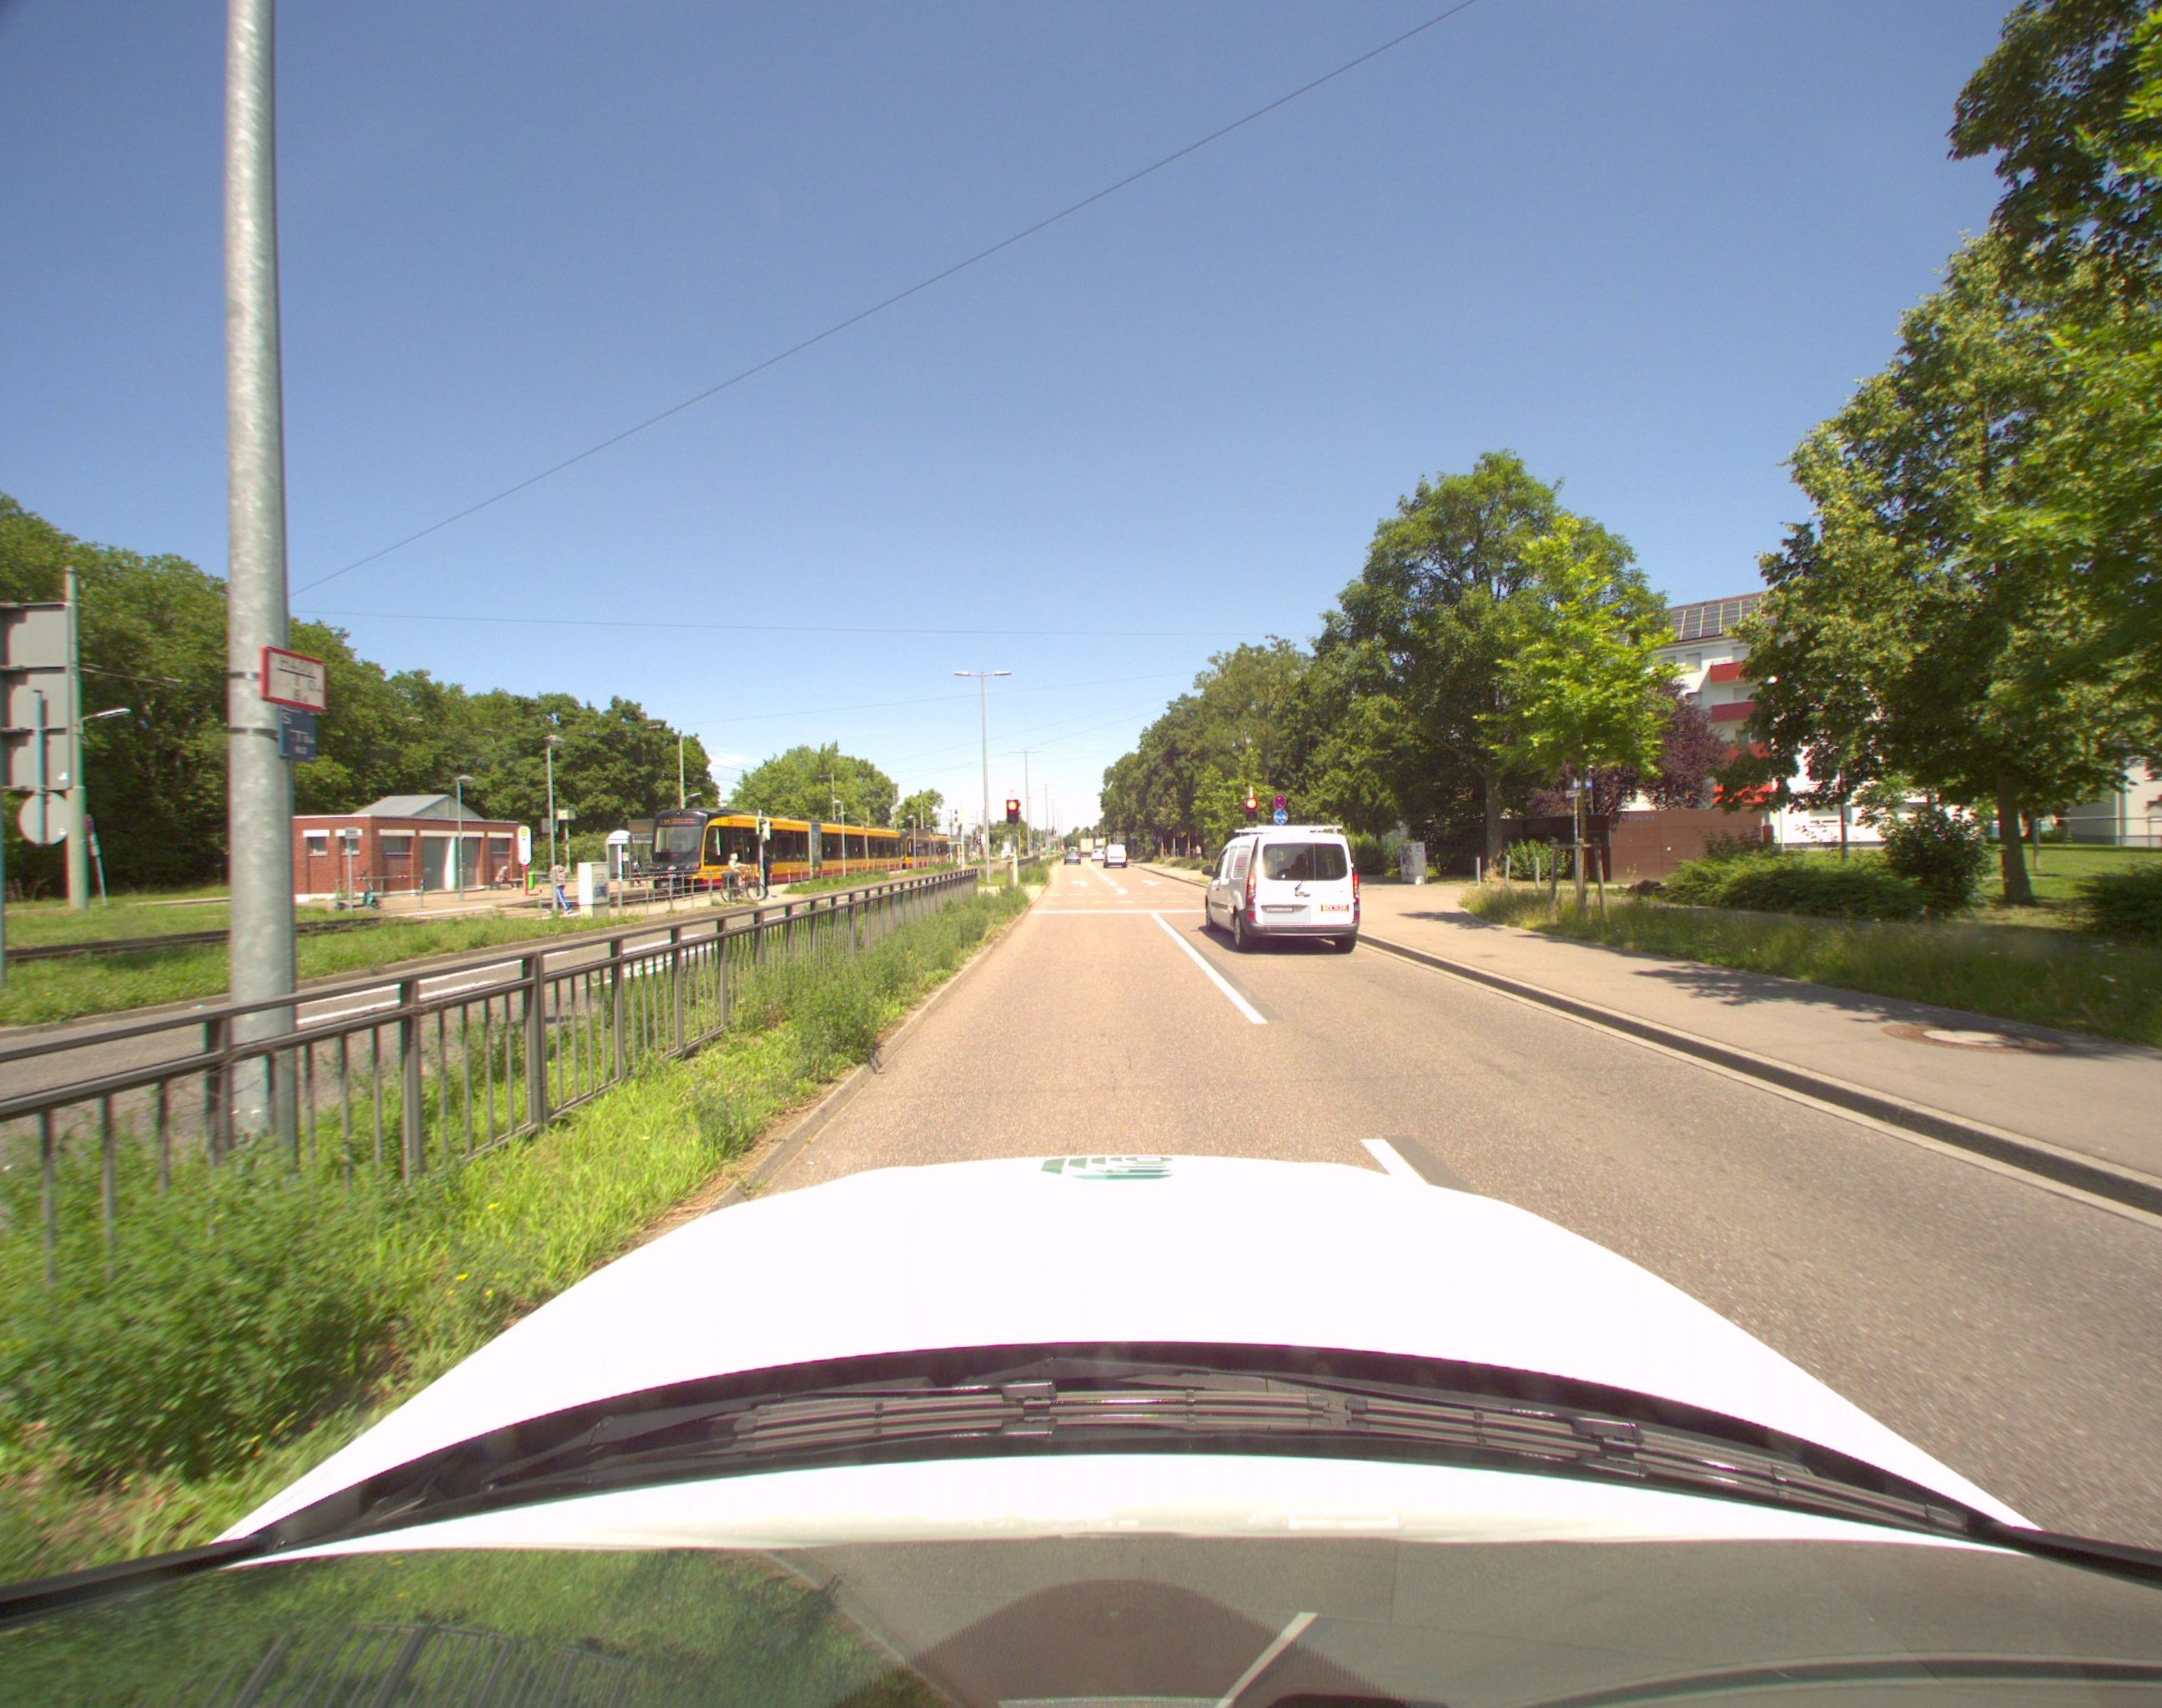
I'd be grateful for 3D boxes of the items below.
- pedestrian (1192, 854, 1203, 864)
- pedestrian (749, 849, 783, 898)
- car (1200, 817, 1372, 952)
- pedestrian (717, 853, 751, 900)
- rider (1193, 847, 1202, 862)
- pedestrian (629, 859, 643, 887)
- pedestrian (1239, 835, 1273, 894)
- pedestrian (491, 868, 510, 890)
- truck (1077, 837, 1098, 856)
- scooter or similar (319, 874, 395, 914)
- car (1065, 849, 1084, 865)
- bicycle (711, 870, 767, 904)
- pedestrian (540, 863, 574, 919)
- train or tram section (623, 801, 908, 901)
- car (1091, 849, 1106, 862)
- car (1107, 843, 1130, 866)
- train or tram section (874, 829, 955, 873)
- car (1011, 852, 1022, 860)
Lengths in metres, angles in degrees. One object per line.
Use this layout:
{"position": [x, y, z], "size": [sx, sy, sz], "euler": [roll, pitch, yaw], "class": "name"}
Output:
{"position": [10.195, 0.429, 71.353], "size": [0.676, 0.847, 1.773], "euler": [-1, 0, -1], "class": "pedestrian"}
{"position": [-11.824, 0.717, 30.530], "size": [0.949, 1.797, 0.709], "euler": [-1, 0, 28], "class": "pedestrian"}
{"position": [3.211, 0.417, 13.696], "size": [1.818, 1.881, 4.456], "euler": [0, 0, 0], "class": "car"}
{"position": [-12.170, 0.783, 28.577], "size": [0.815, 1.628, 0.706], "euler": [-1, 0, 5], "class": "pedestrian"}
{"position": [10.199, 0.061, 71.294], "size": [0.676, 1.281, 0.533], "euler": [-1, 0, -1], "class": "rider"}
{"position": [-23.083, 0.977, 42.251], "size": [0.460, 1.435, 0.525], "euler": [-1, 0, -3], "class": "pedestrian"}
{"position": [5.620, 0.331, 26.179], "size": [1.039, 1.850, 0.760], "euler": [-1, 0, 13], "class": "pedestrian"}
{"position": [-27.622, 1.209, 38.765], "size": [0.479, 1.018, 0.522], "euler": [-1, 0, 1], "class": "pedestrian"}
{"position": [1.259, -1.513, 165.497], "size": [3.887, 3.812, 10.789], "euler": [-1, 0, -1], "class": "truck"}
{"position": [-22.126, 1.204, 24.906], "size": [0.605, 1.127, 1.683], "euler": [-1, 0, 44], "class": "scooter or similar"}
{"position": [-0.626, 0.297, 81.951], "size": [1.796, 1.486, 4.000], "euler": [-1, 0, 0], "class": "car"}
{"position": [-11.942, 1.144, 28.443], "size": [1.854, 1.157, 0.243], "euler": [-1, 0, 4], "class": "bicycle"}
{"position": [-14.805, 1.031, 22.995], "size": [0.858, 1.541, 0.541], "euler": [-1, 0, 40], "class": "pedestrian"}
{"position": [-15.729, -0.180, 49.105], "size": [2.779, 3.668, 37.508], "euler": [-1, 0, 0], "class": "train or tram section"}
{"position": [2.151, 0.221, 101.221], "size": [1.798, 1.540, 3.998], "euler": [-1, 0, -1], "class": "car"}
{"position": [2.972, 0.010, 64.537], "size": [1.720, 1.813, 4.005], "euler": [0, 1, 4], "class": "car"}
{"position": [-15.855, -0.292, 80.871], "size": [2.779, 3.668, 25.992], "euler": [-1, 0, 0], "class": "train or tram section"}
{"position": [-14.284, 0.458, 180.413], "size": [1.995, 1.650, 3.983], "euler": [-1, 0, -12], "class": "car"}
